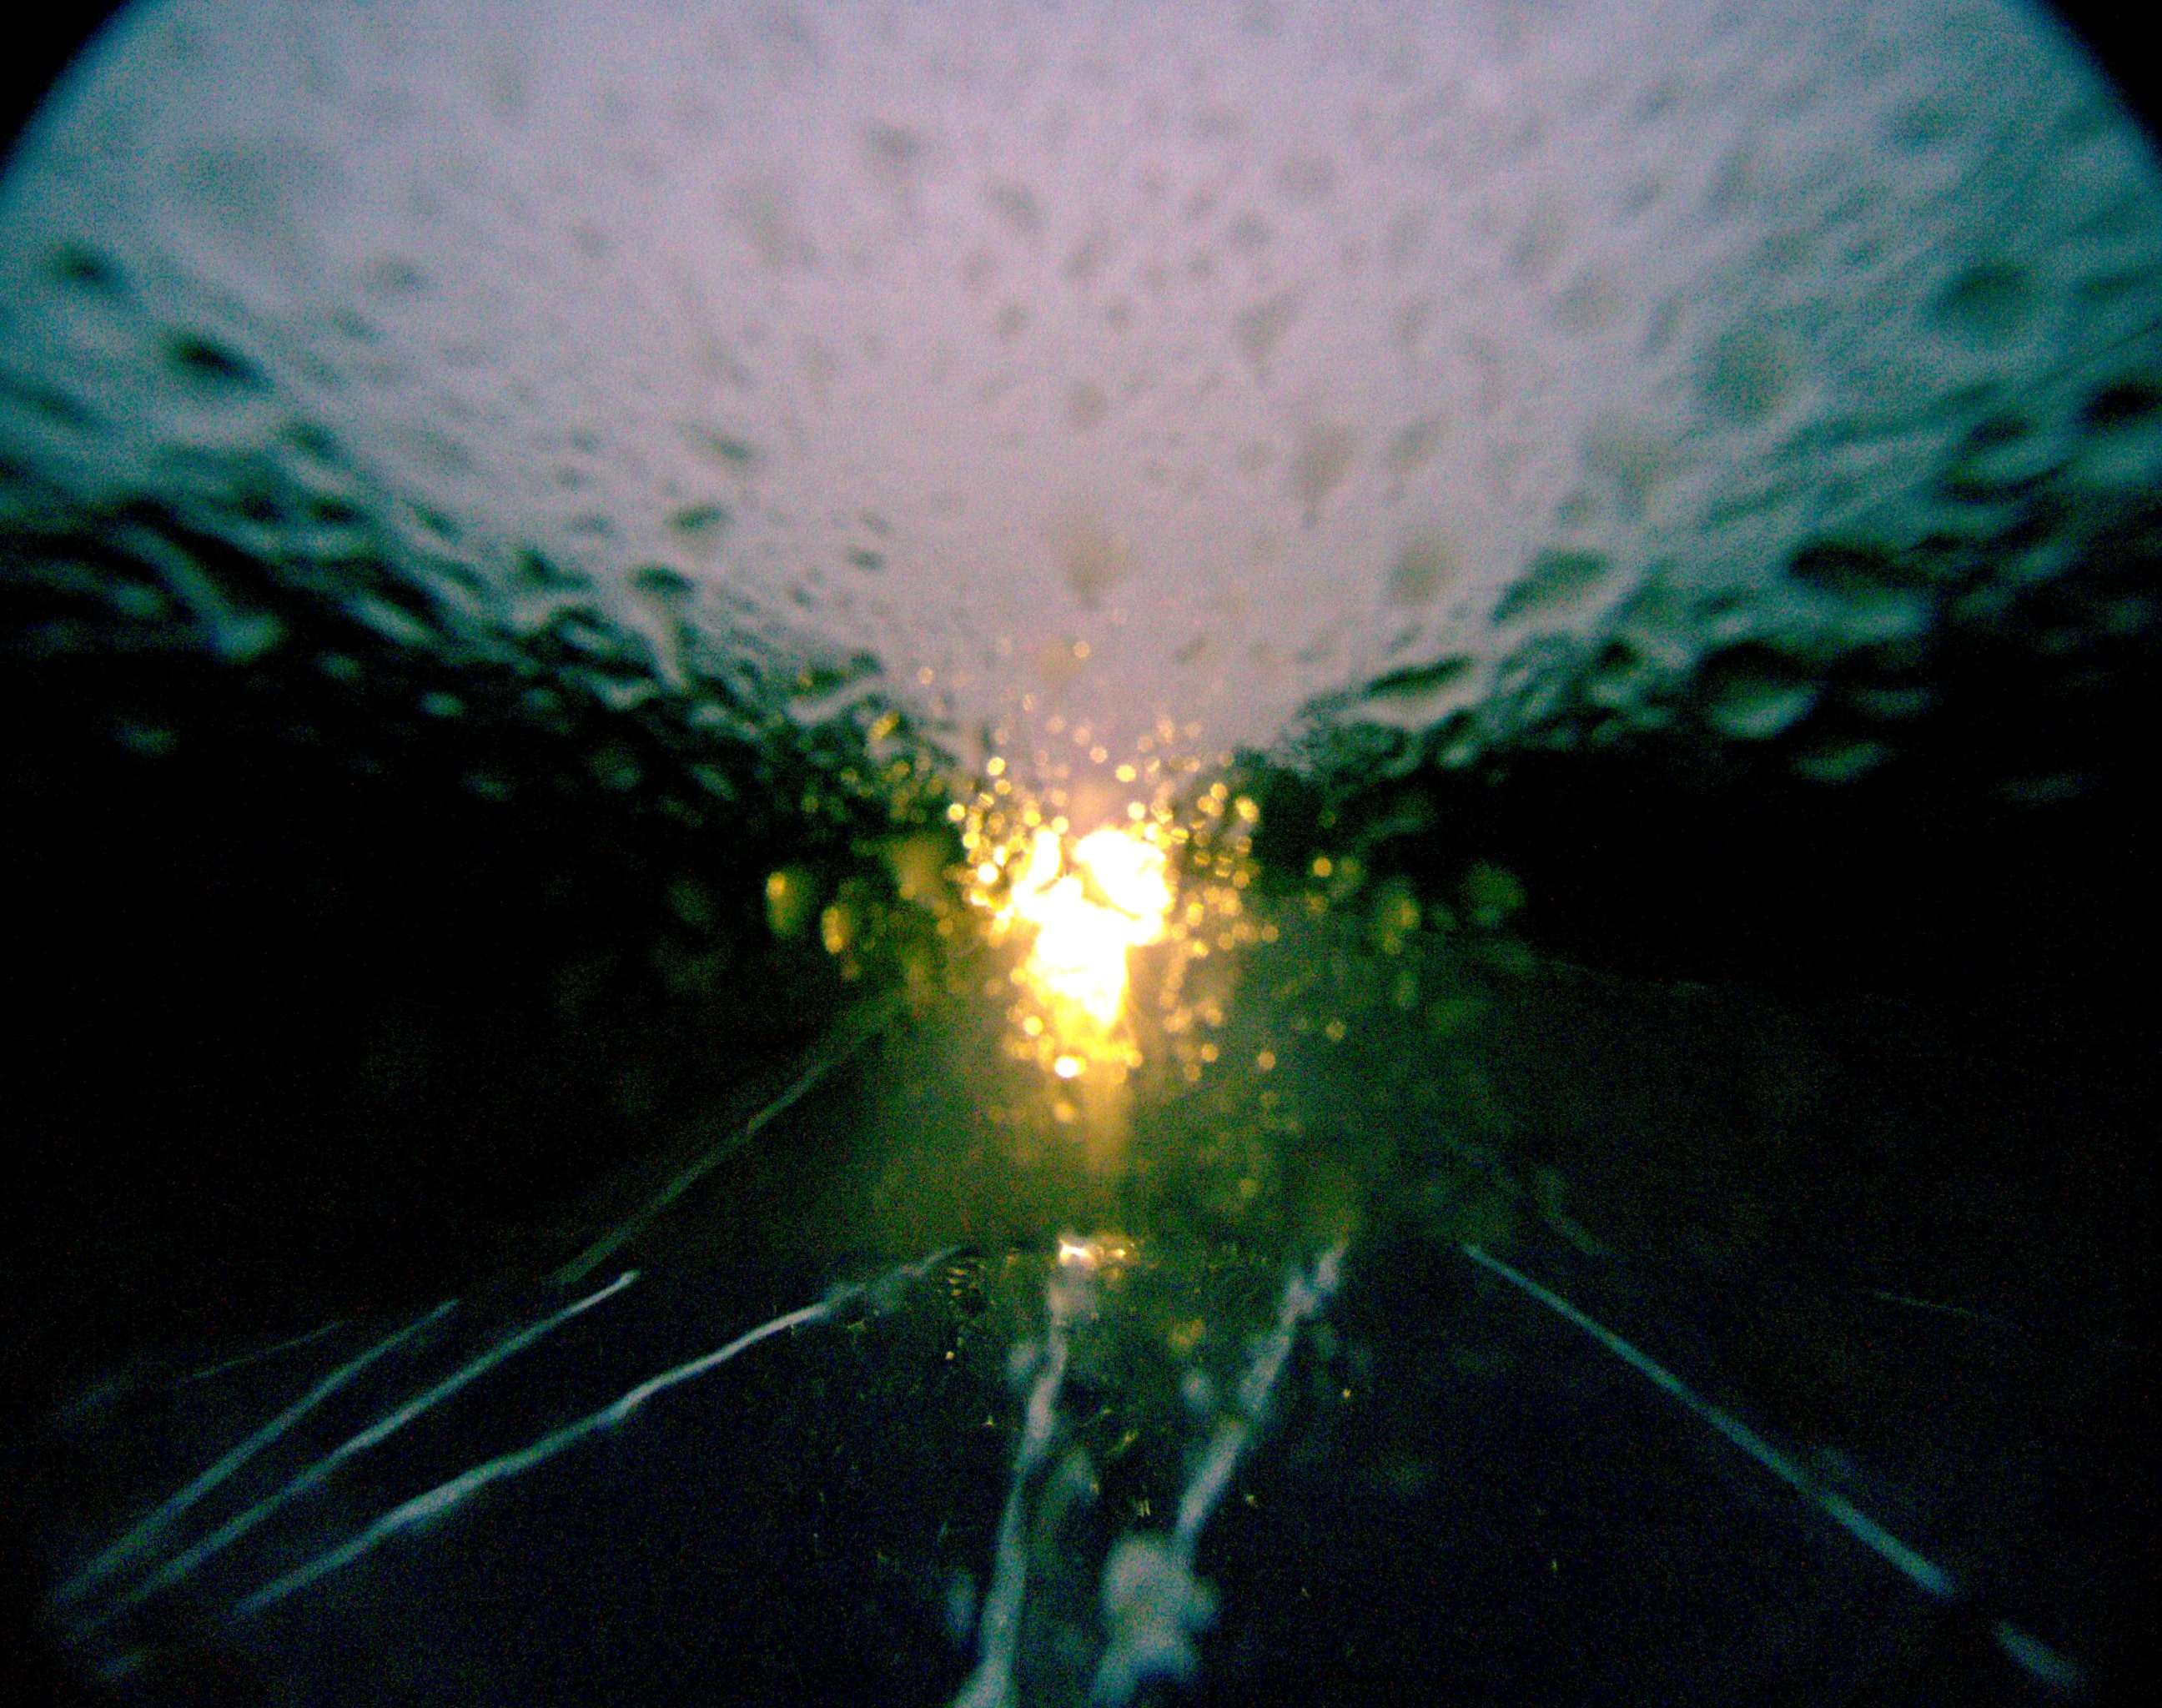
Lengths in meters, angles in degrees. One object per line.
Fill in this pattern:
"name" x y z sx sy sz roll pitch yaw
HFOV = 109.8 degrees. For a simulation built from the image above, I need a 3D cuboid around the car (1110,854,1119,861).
"car" 6.929 0.734 159.404 1.702 1.487 5.664 -2 0 1
